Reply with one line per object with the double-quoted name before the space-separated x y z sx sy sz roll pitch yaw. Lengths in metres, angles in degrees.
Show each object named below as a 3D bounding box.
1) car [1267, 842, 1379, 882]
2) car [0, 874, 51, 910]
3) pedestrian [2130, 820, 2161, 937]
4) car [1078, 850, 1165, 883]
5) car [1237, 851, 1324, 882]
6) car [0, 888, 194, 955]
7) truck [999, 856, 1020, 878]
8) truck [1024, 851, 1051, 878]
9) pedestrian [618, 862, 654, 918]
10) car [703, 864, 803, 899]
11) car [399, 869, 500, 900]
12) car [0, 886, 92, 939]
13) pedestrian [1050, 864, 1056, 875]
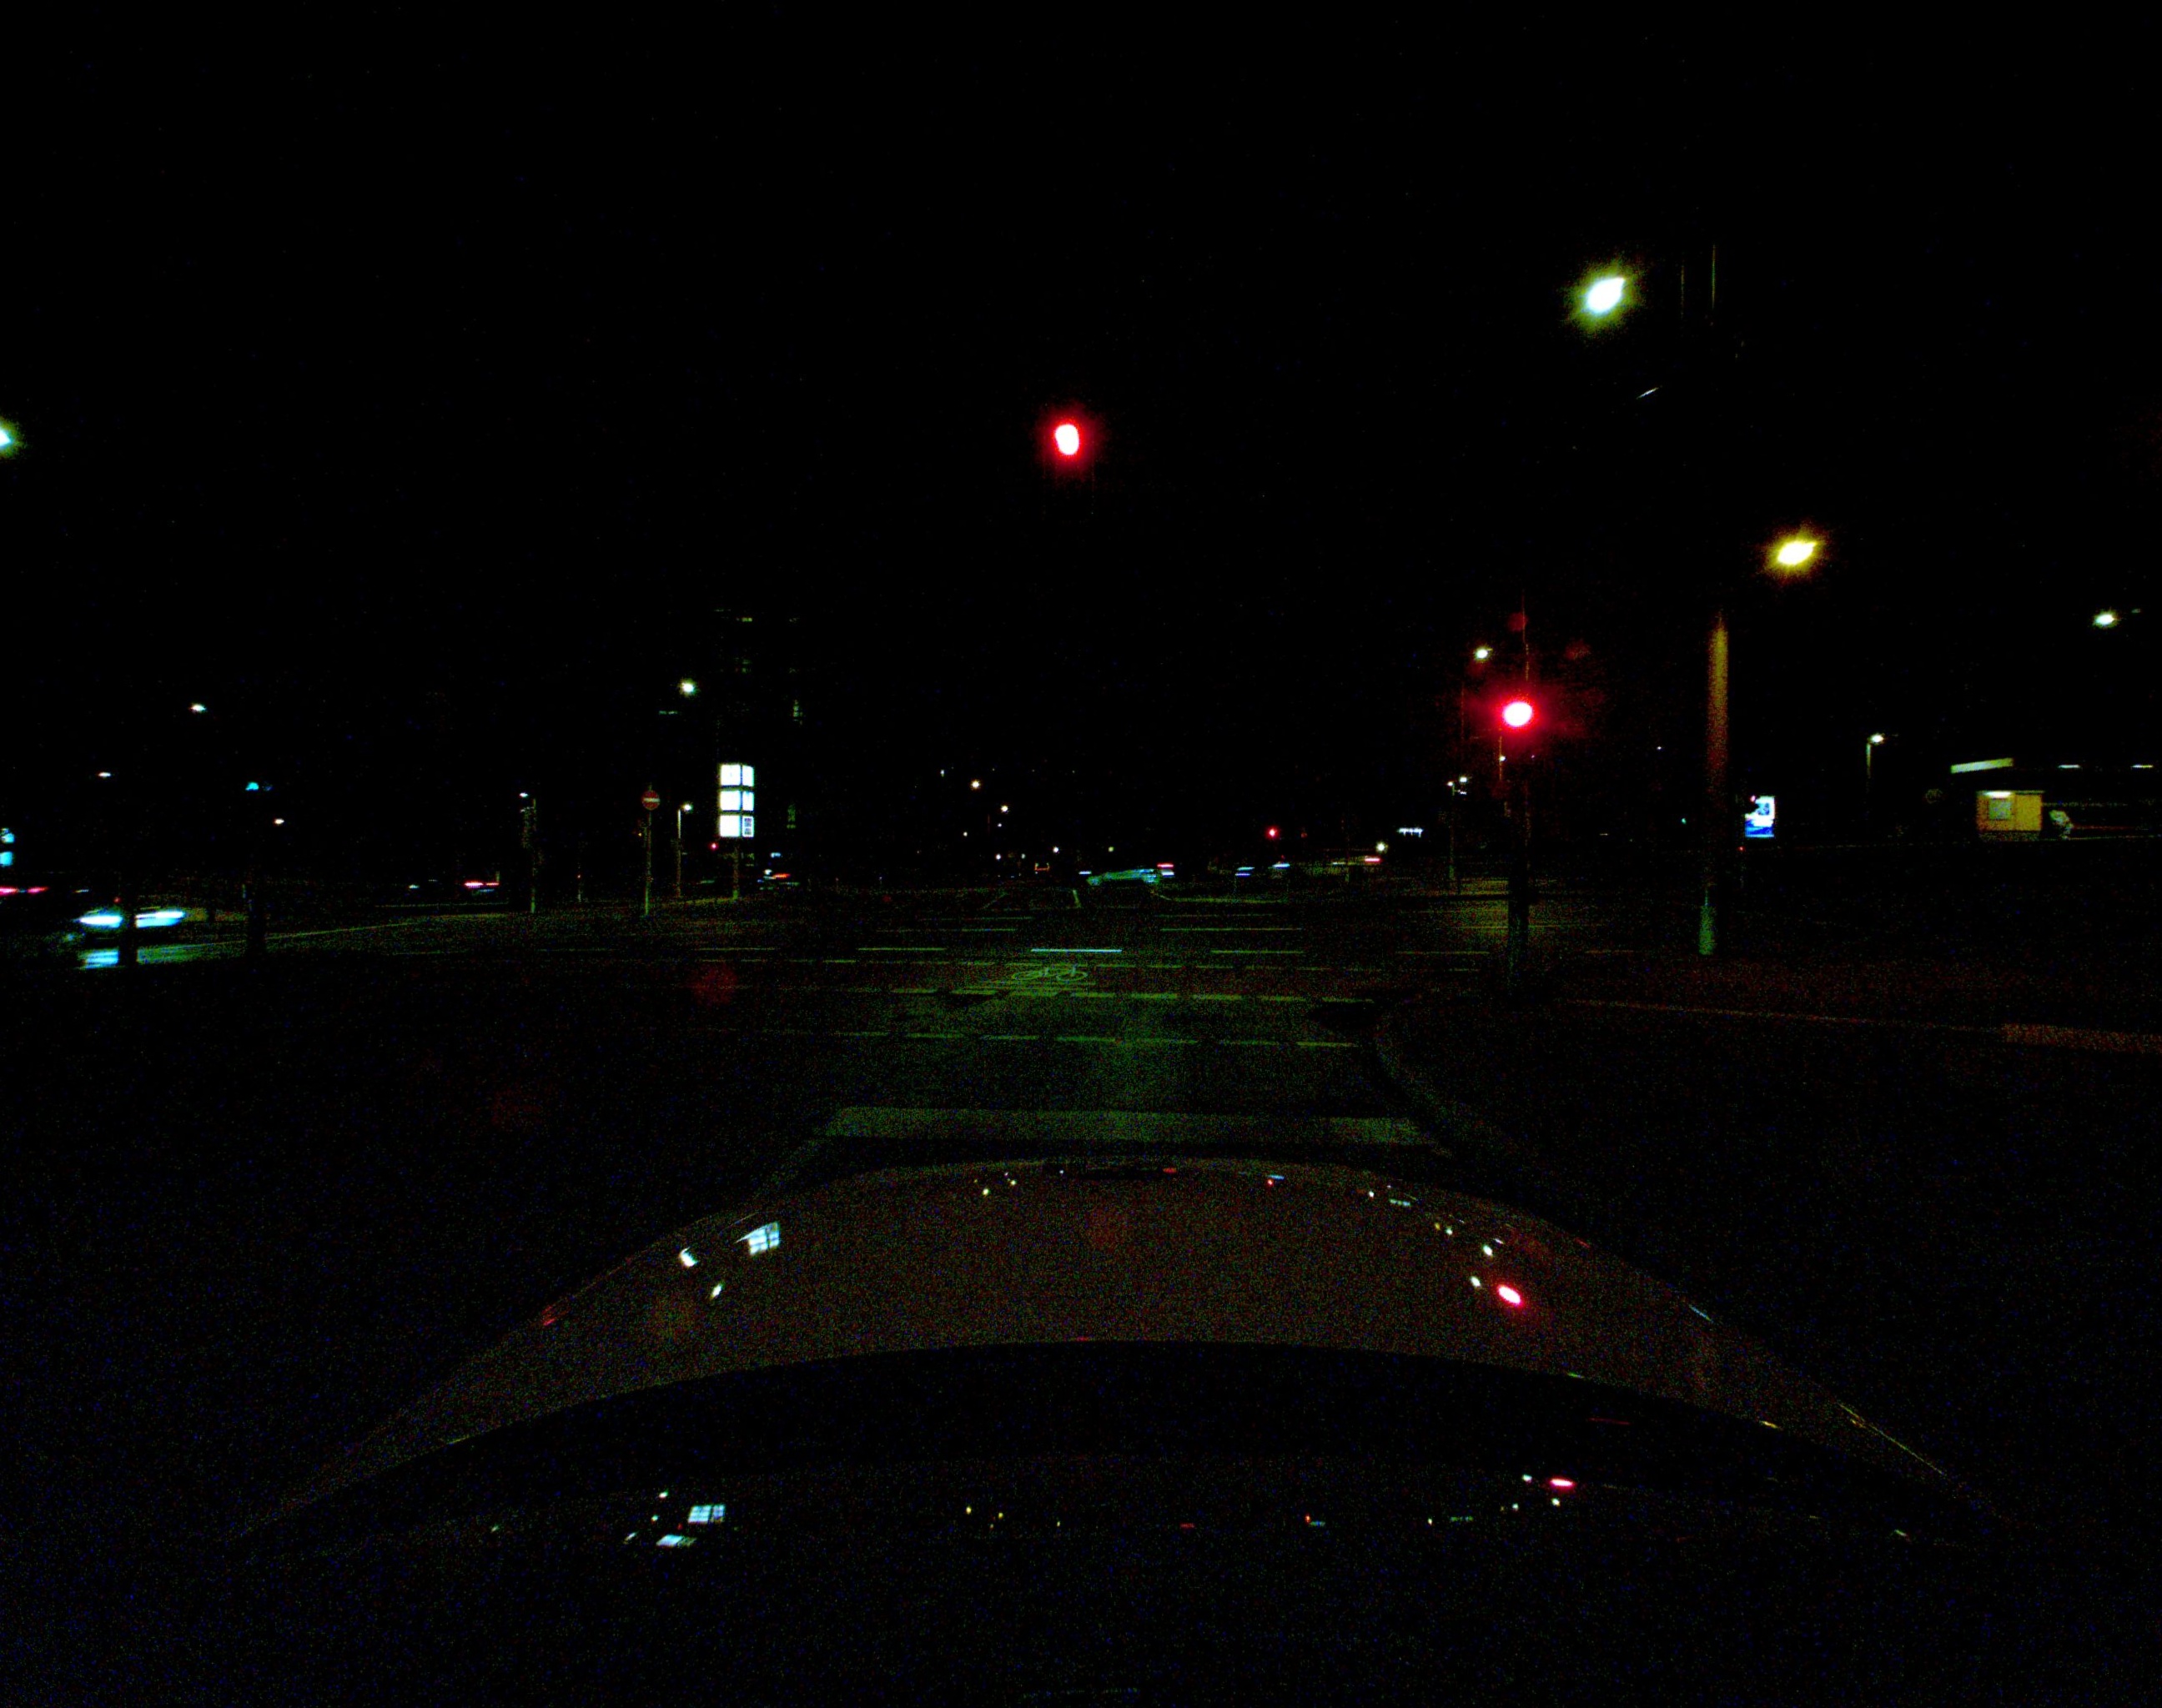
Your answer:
"car" 10.900 0.341 36.889 4.551 1.585 1.848 -2 1 3
"car" -57.686 1.957 42.906 4.757 1.844 1.845 0 -1 5
"pedestrian" 15.855 0.319 11.573 0.870 1.656 0.843 -7 -5 42
"car" 2.072 0.627 40.590 4.212 1.585 1.806 0 -1 6
"car" 10.402 0.657 42.721 4.215 1.585 1.889 0 -1 4
"car" -26.281 1.752 21.223 4.549 1.419 1.748 -2 2 5
"truck" -10.625 1.918 120.147 2.419 3.089 6.412 0 -1 -11
"truck" -7.997 1.936 149.252 3.366 4.843 7.865 0 -1 -14
"pedestrian" -13.993 1.122 25.595 0.670 1.722 0.710 -1 -2 28
"car" -15.638 1.293 38.951 3.970 1.585 1.805 -1 -1 3
"car" -33.939 1.632 43.843 4.041 1.424 1.846 -1 1 5
"car" -33.429 1.790 25.118 4.224 1.420 1.750 -1 2 9
"pedestrian" -5.045 2.806 147.845 0.851 1.912 1.001 0 -1 -16
